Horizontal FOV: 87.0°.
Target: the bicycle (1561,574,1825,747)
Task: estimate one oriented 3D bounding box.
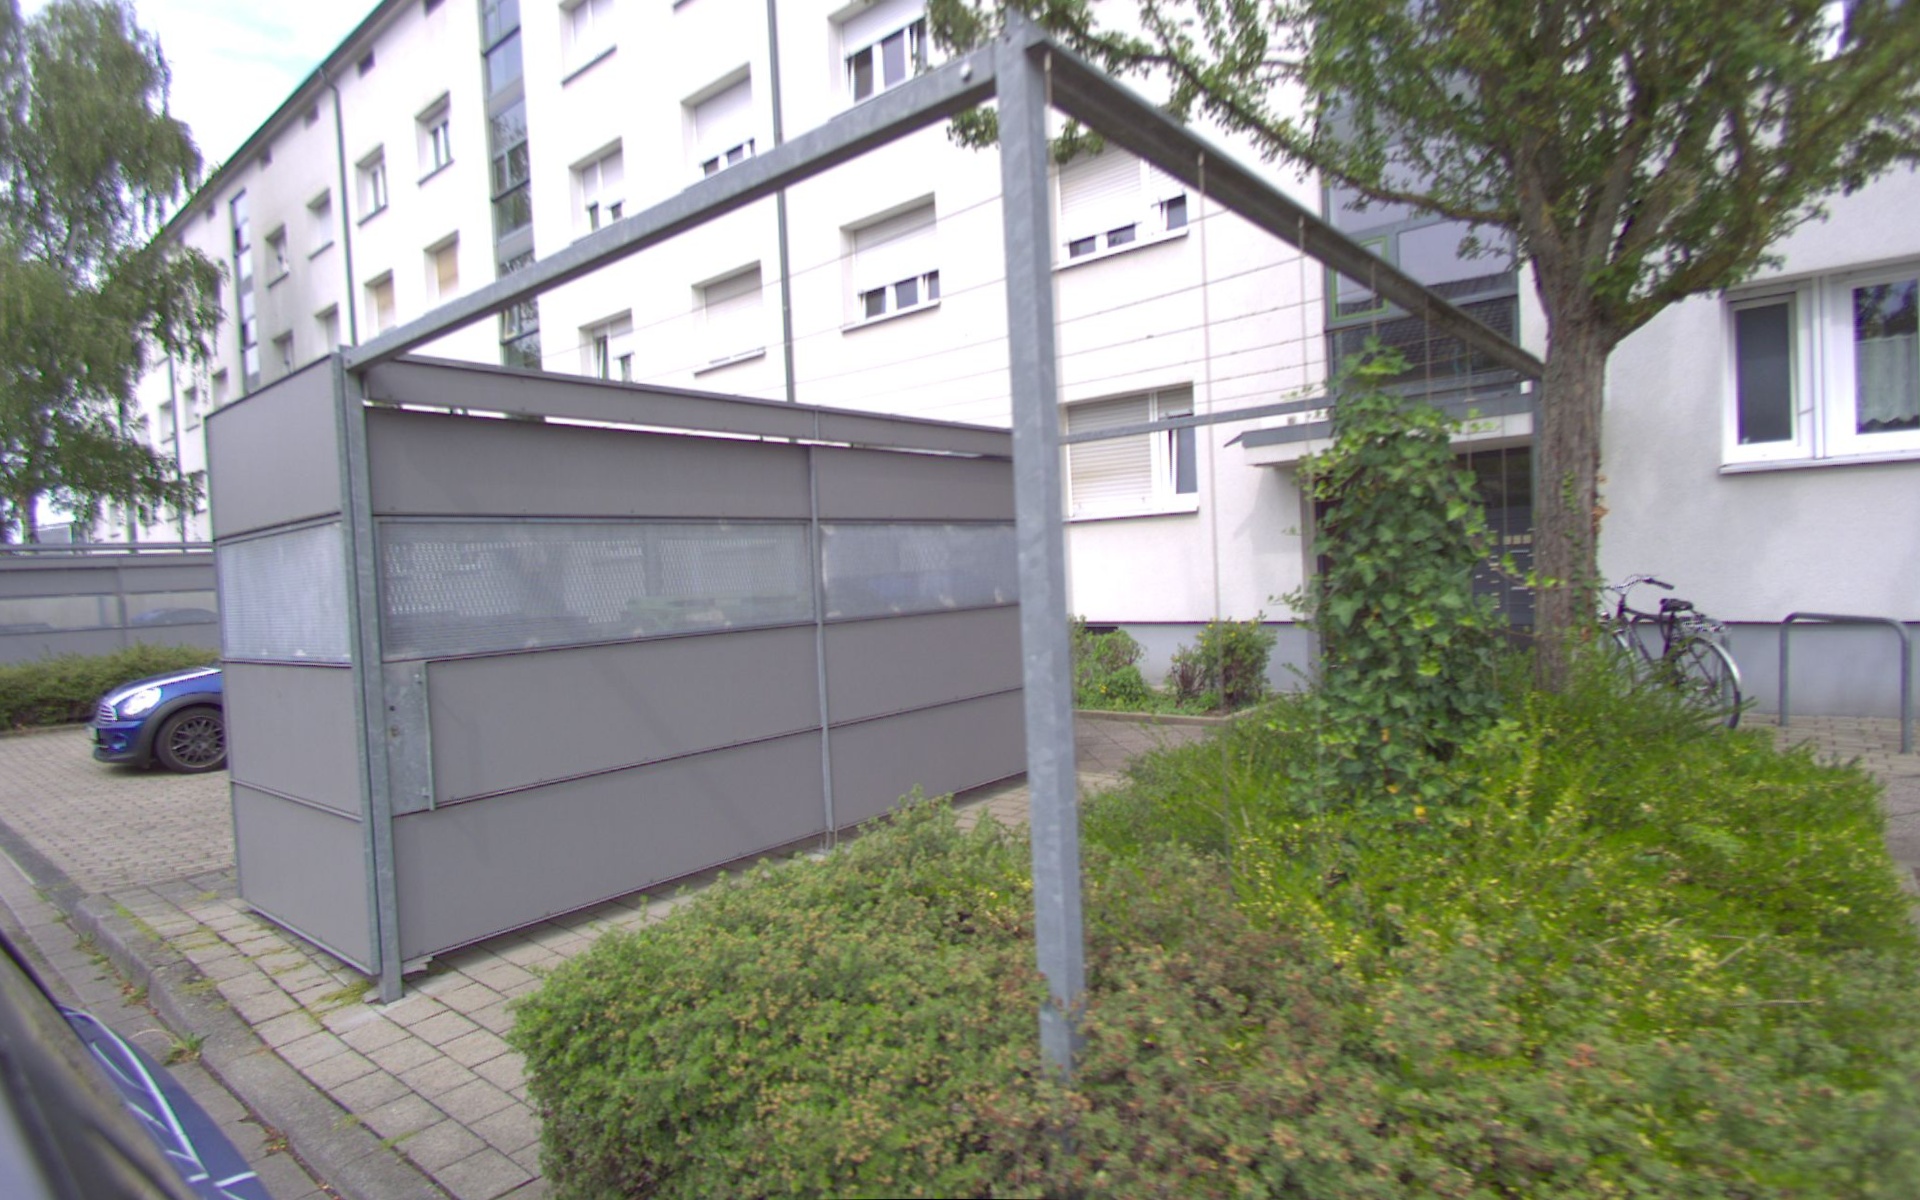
[{"bbox_3d":[5.021,0.350,7.091,0.472,1.032,1.811,-3,1,-1],"label":"bicycle"}]

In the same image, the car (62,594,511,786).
[{"bbox_3d":[-6.897,0.781,10.617,1.653,1.472,3.596,-1,2,43],"label":"car"}]
